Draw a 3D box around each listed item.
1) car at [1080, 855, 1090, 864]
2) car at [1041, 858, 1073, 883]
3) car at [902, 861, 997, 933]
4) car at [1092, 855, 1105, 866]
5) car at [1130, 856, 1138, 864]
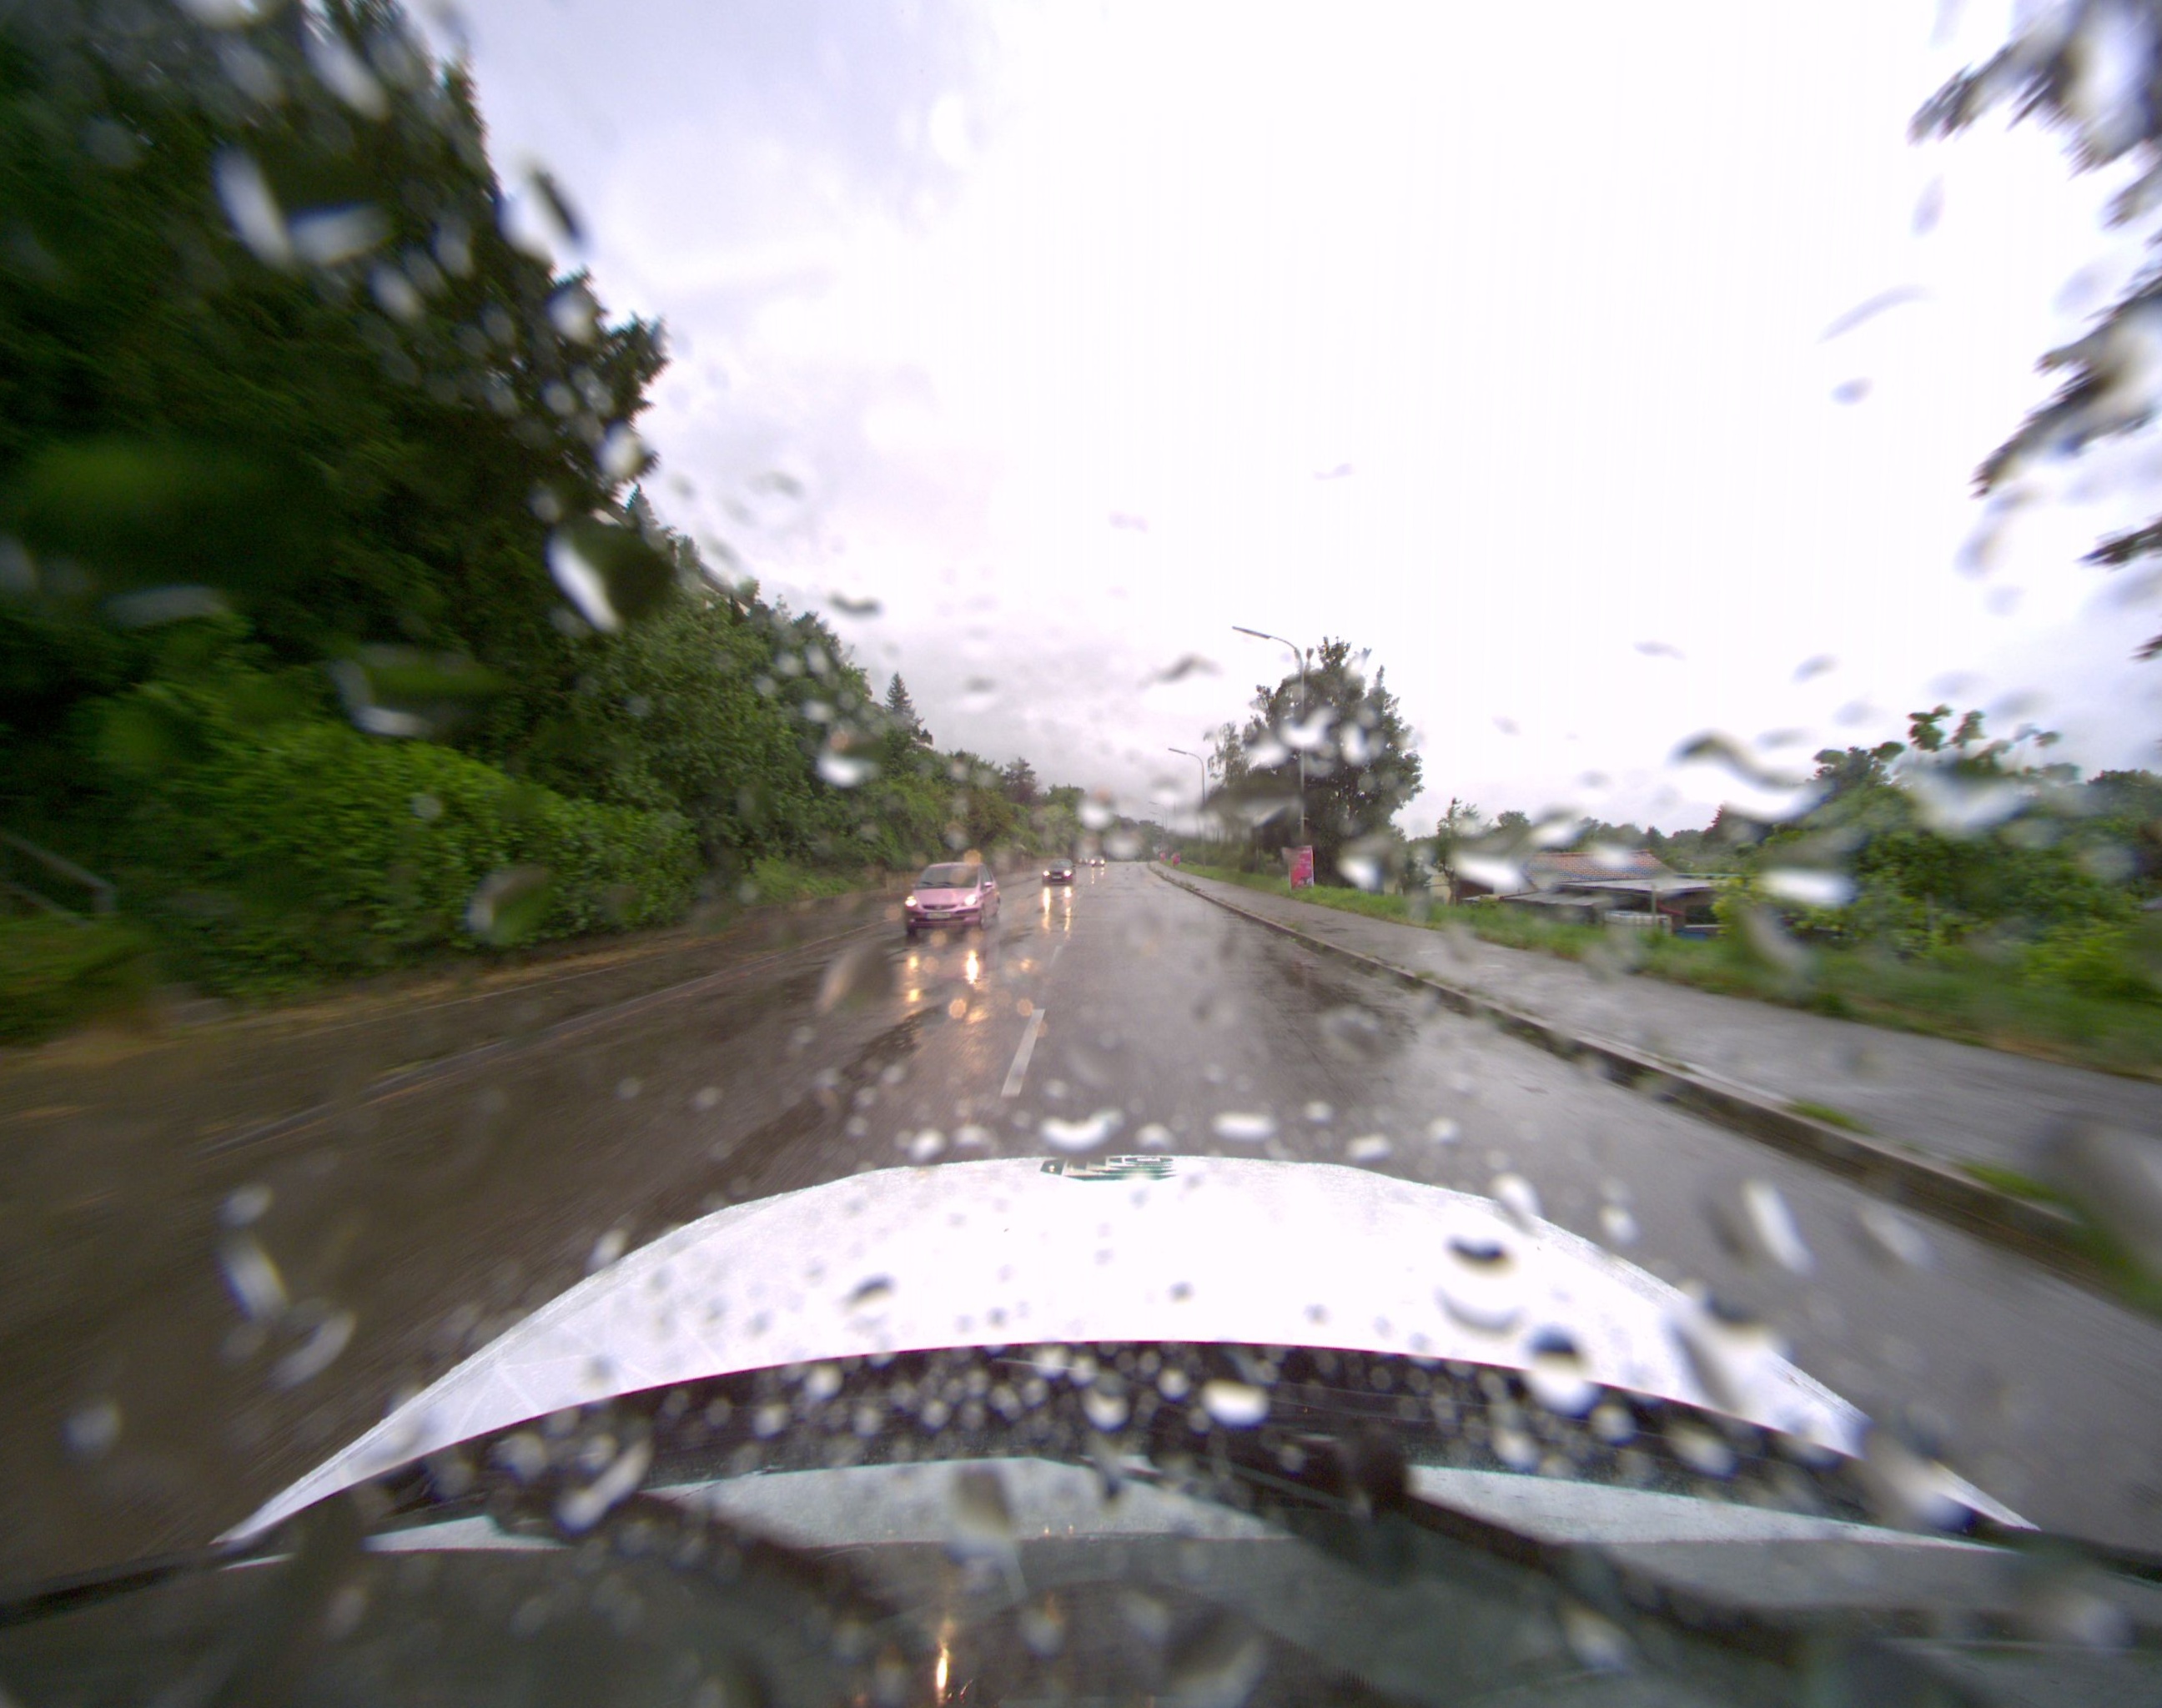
[{"bbox_3d":[0.680,1.038,141.999,1.721,1.496,3.987,-1,-1,0],"label":"car"},{"bbox_3d":[-1.328,0.925,46.182,1.649,1.352,3.987,-1,-1,0],"label":"car"},{"bbox_3d":[-2.900,0.905,18.621,1.657,1.461,3.659,-1,-1,-2],"label":"car"},{"bbox_3d":[2.359,0.852,110.939,1.753,1.496,4.128,-1,-1,1],"label":"car"},{"bbox_3d":[15.057,1.726,231.849,1.985,2.014,4.003,0,-1,3],"label":"car"}]
